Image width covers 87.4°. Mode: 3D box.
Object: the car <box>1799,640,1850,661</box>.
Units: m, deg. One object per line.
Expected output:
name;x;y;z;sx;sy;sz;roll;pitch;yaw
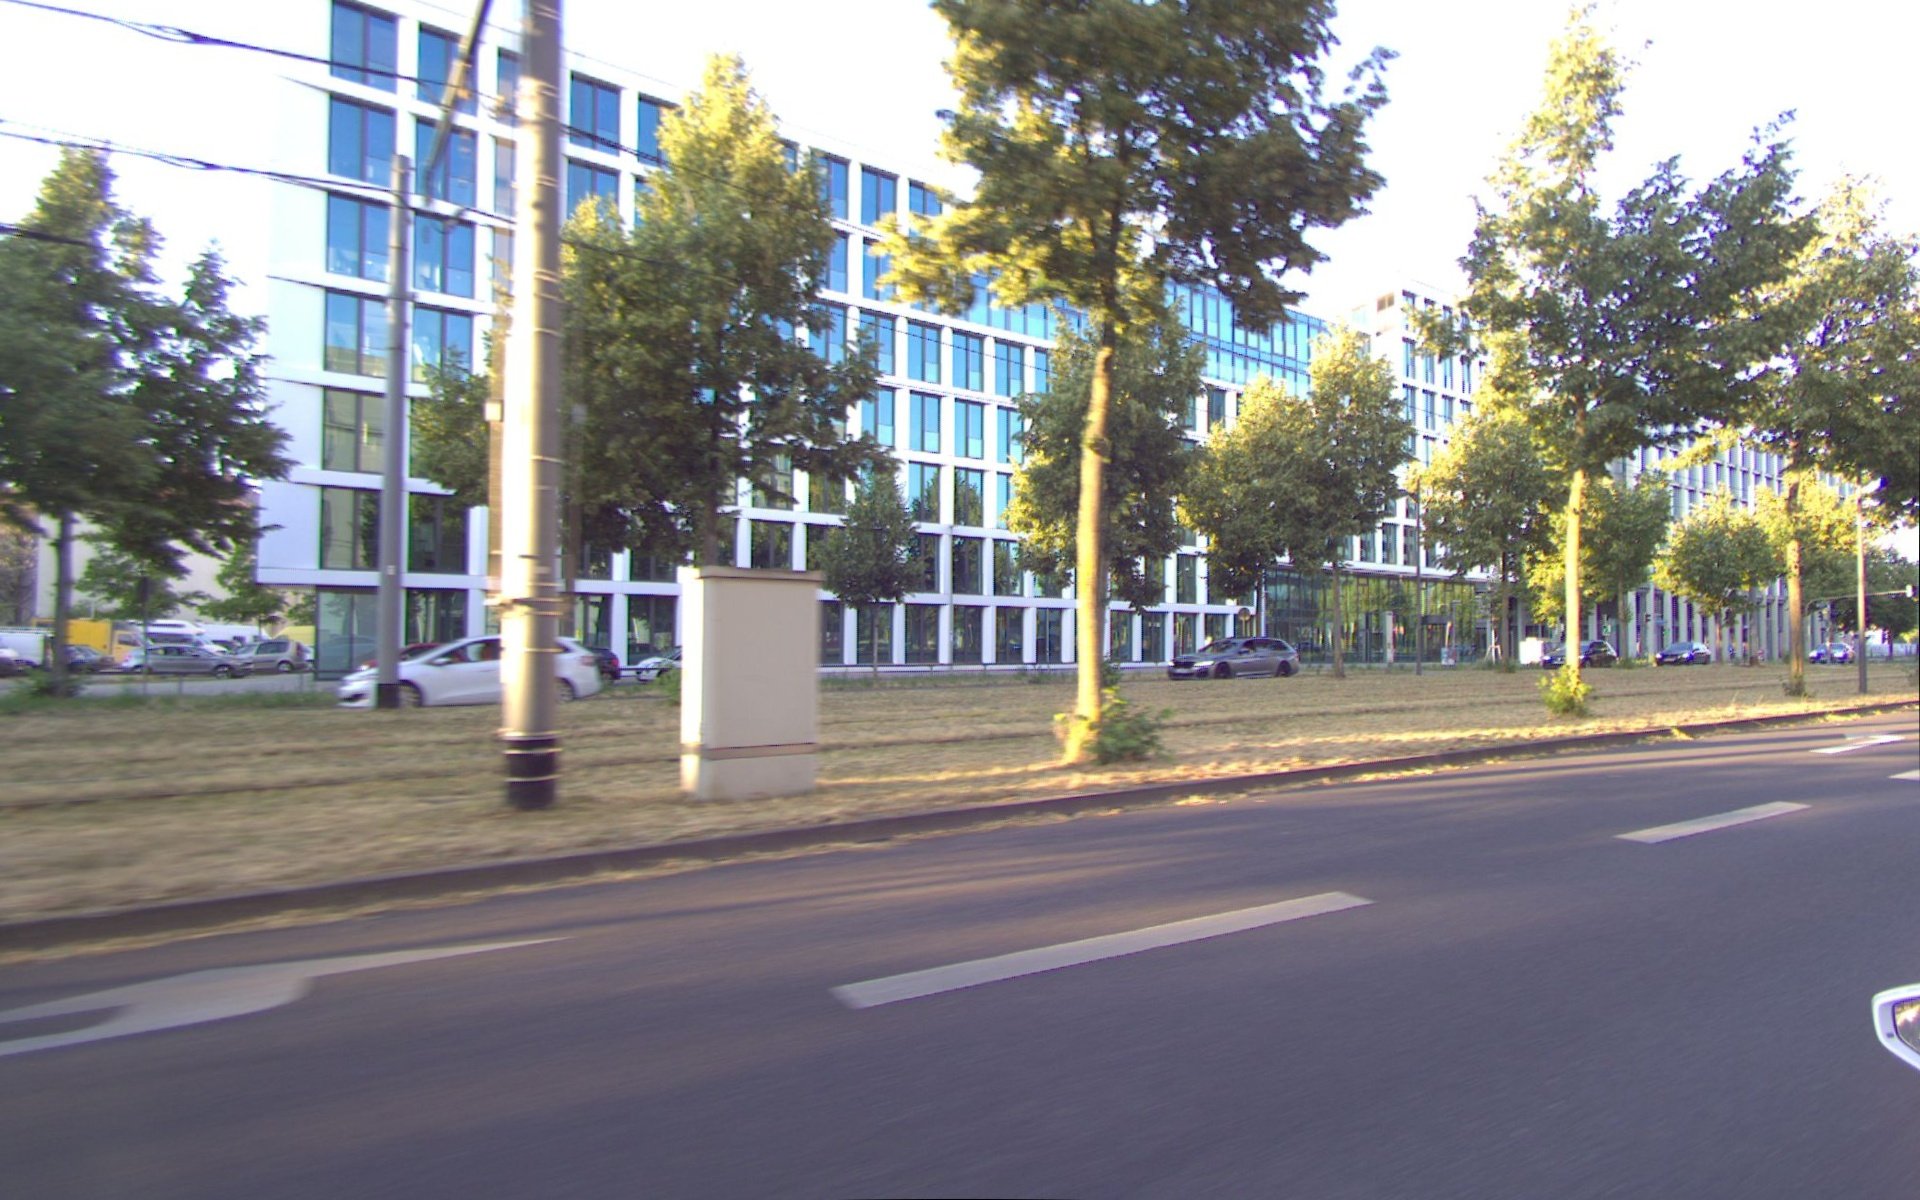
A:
car;58.665;3.390;68.141;4.541;1.349;1.645;2;-2;-37

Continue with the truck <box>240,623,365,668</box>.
truck;-36.679;2.555;56.222;5.495;2.413;1.989;1;-2;-24

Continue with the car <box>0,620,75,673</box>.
car;-43.172;2.075;45.231;4.442;2.337;2.096;1;-2;-23

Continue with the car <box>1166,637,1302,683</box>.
car;8.752;1.870;31.897;4.697;1.349;1.645;2;-3;-37

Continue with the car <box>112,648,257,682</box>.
car;-30.593;2.542;39.770;4.189;1.277;1.736;1;-2;-22

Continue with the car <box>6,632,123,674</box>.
car;-45.429;2.665;51.051;3.944;2.040;1.989;1;-2;-24

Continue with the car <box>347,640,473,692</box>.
car;-17.995;2.113;32.891;3.456;1.602;1.849;2;-2;-34

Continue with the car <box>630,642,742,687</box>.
car;-10.439;2.433;38.333;3.745;1.602;1.849;2;-2;-34

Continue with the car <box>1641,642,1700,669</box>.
car;42.278;3.291;59.761;4.150;1.521;1.645;2;-2;-37

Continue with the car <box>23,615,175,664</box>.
car;-47.821;2.212;55.976;6.001;2.630;1.991;1;-2;-21

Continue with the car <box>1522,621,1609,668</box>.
car;27.514;2.030;45.639;3.961;2.040;1.980;2;-3;-36

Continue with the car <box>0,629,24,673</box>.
car;-42.209;2.140;42.140;3.955;1.835;1.906;1;-2;-32

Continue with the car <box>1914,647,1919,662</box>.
car;90.563;5.087;93.662;4.485;1.349;1.645;2;-2;-37

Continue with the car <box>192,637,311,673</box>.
car;-33.054;2.567;47.004;4.217;1.610;1.759;1;-2;-23

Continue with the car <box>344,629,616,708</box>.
car;-9.099;1.261;19.230;4.487;1.349;1.645;2;-3;-37
